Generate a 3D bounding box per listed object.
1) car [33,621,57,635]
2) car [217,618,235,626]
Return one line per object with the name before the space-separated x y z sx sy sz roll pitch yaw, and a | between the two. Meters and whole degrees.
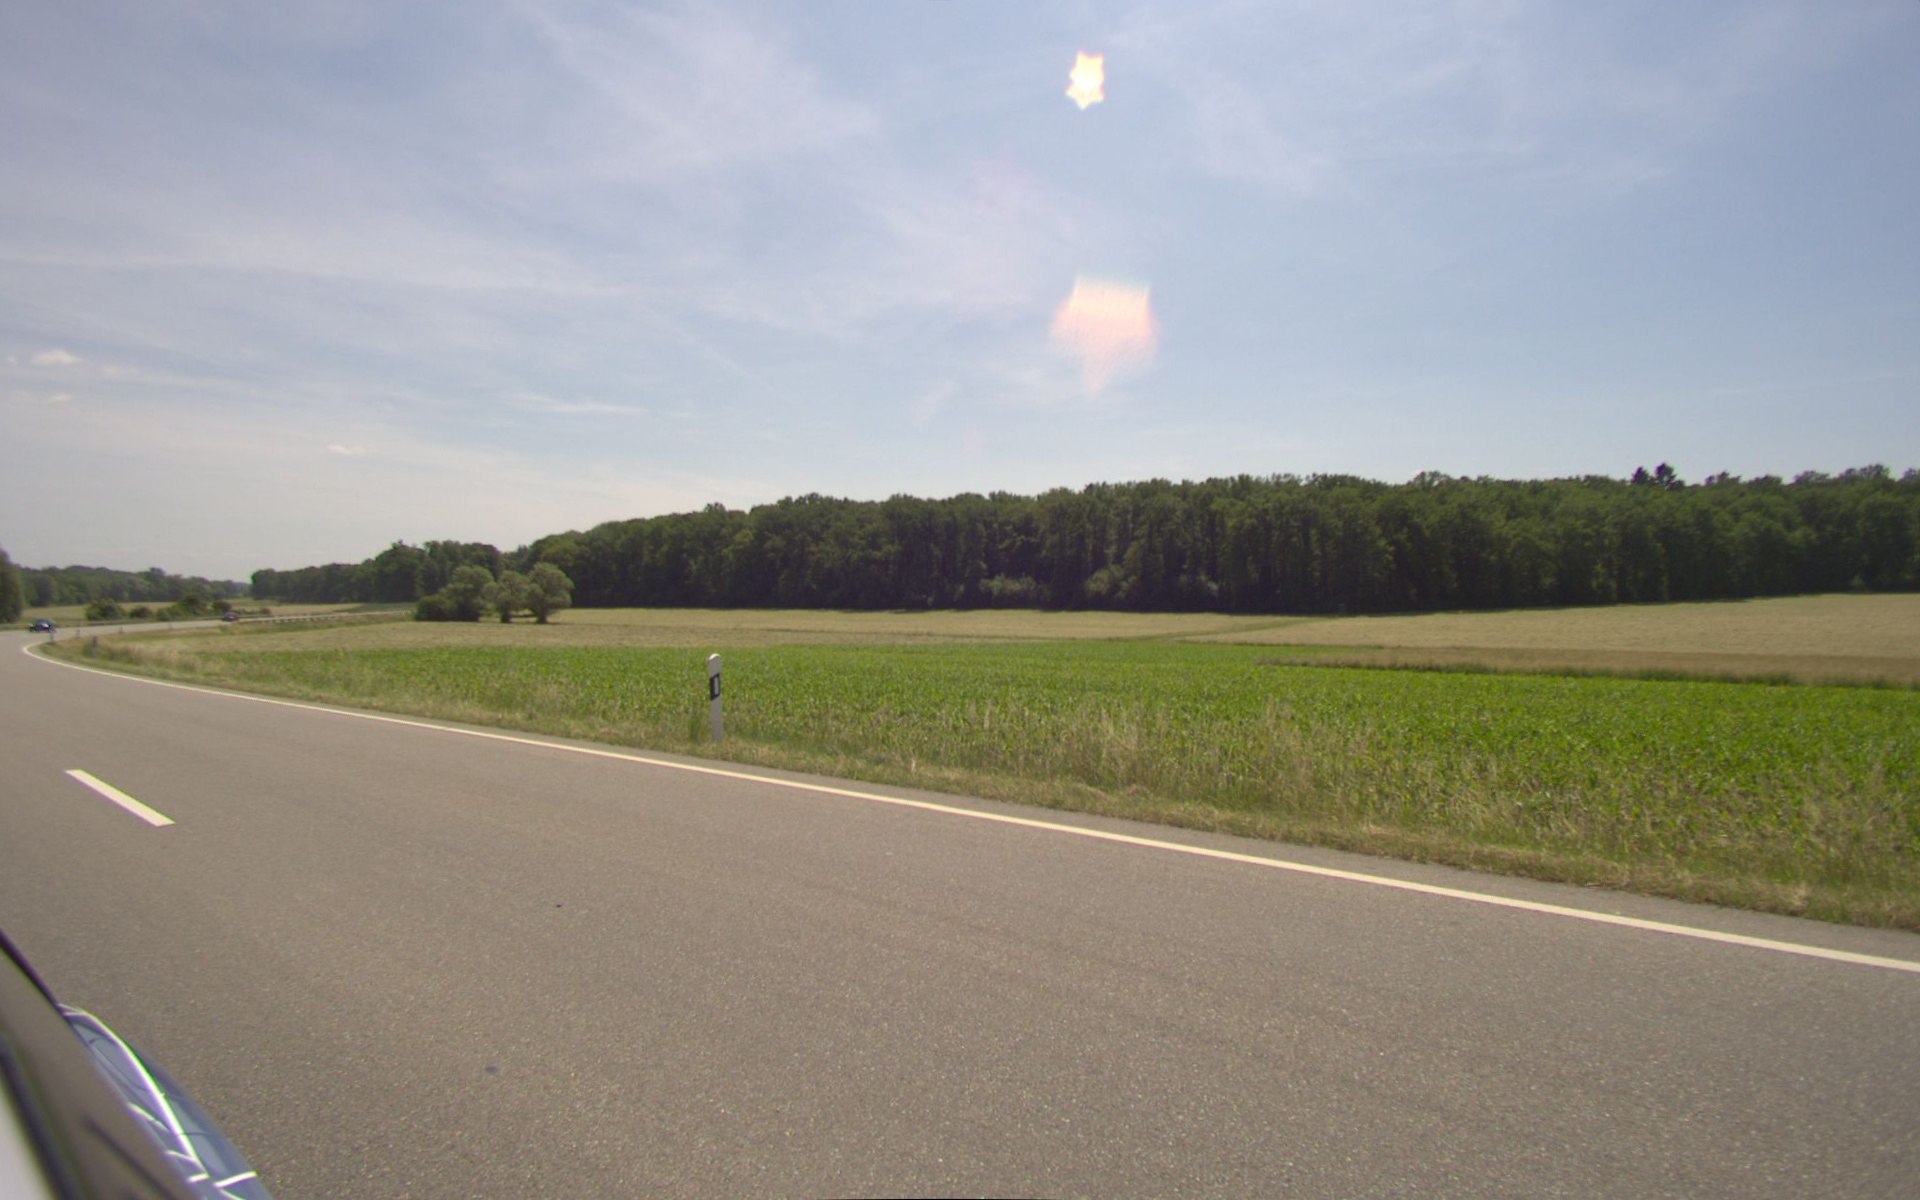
car | -99.626 3.063 110.202 1.596 1.447 3.451 1 0 -37
car | -135.182 4.065 186.368 1.595 1.447 3.452 1 0 -14
